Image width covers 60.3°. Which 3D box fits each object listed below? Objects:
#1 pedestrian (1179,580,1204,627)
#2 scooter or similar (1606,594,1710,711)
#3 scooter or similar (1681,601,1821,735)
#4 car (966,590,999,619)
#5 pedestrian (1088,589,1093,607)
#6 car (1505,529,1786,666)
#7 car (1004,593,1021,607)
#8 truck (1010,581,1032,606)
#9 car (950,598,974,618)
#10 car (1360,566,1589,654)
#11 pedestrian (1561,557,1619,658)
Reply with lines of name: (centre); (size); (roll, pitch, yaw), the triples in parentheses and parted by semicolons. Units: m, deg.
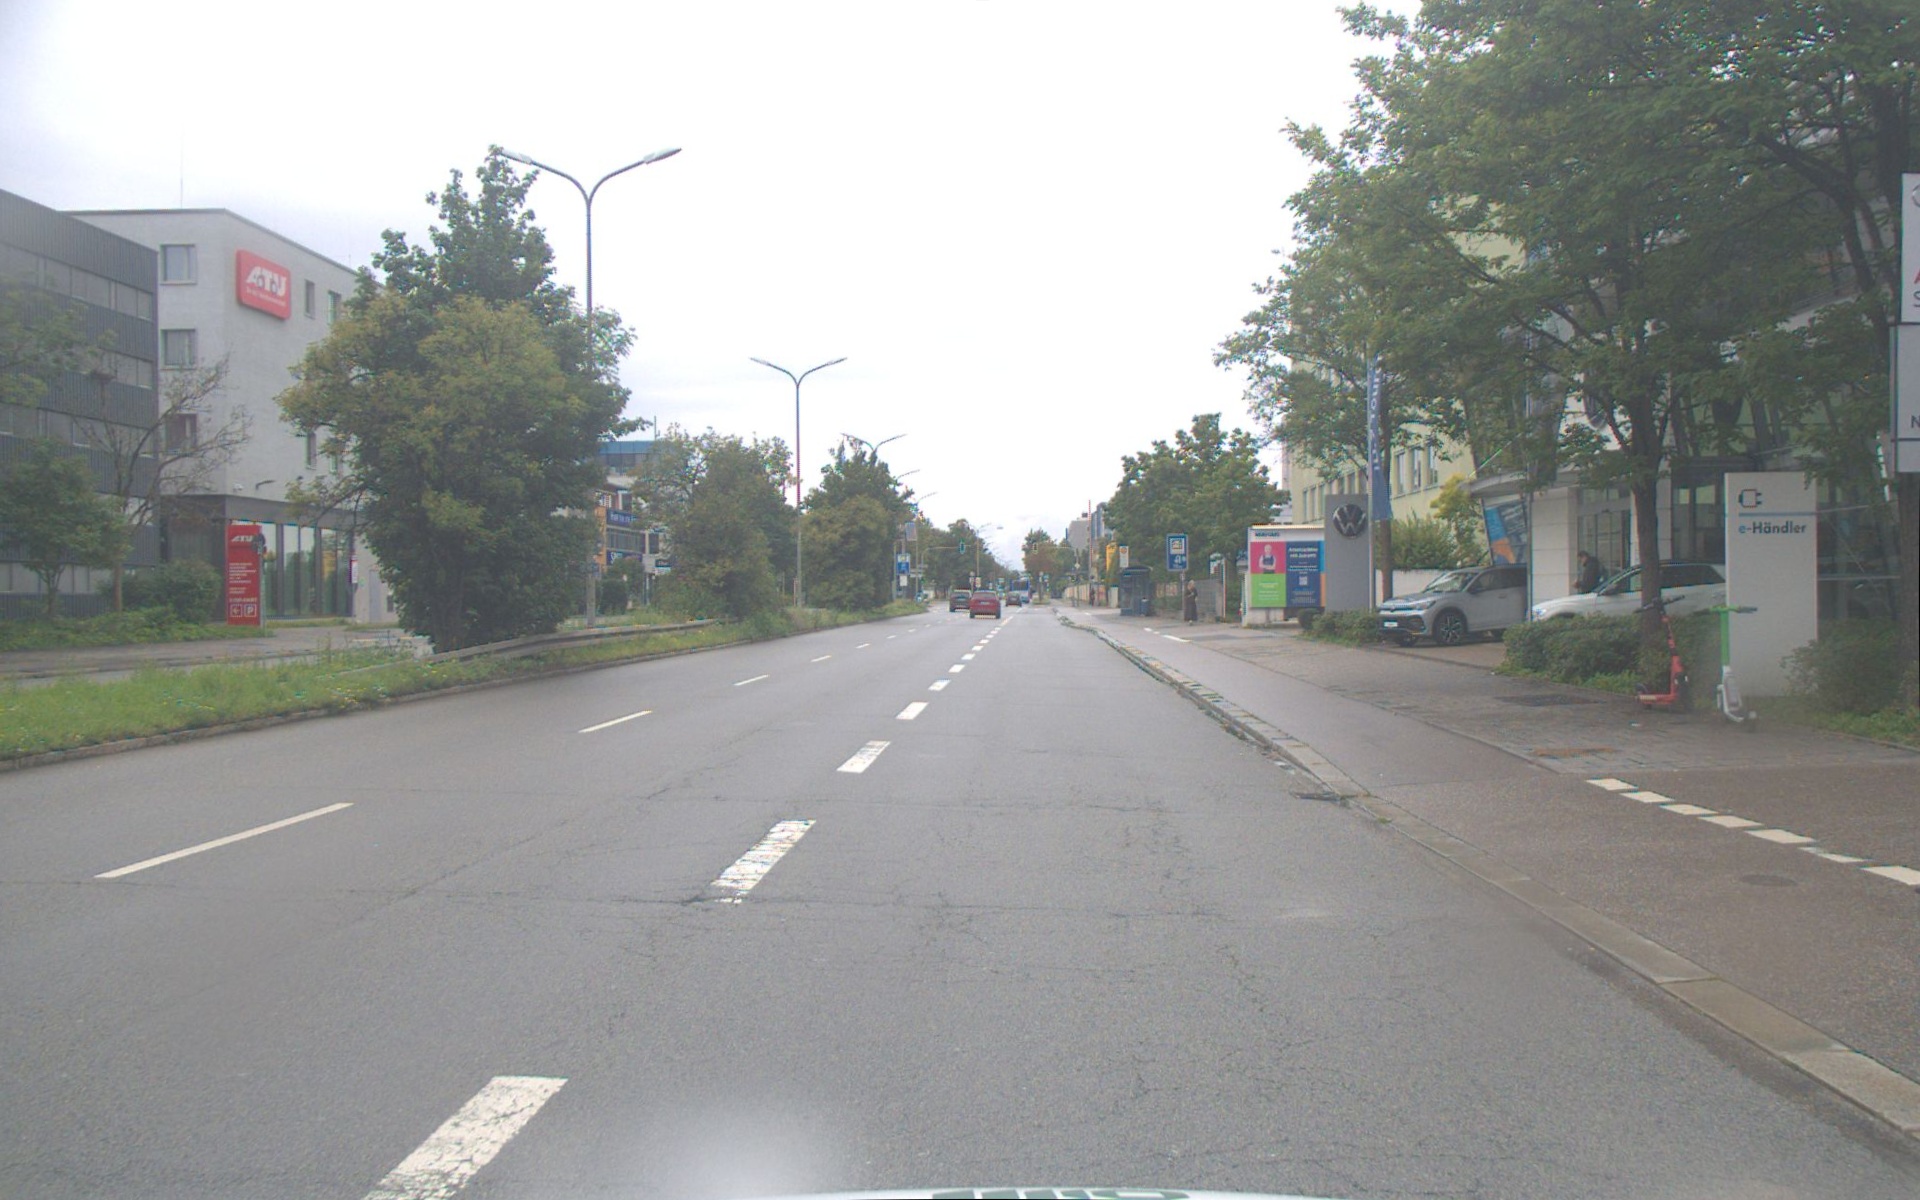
pedestrian: (9.025, 0.131, 64.541); (0.742, 1.758, 0.895); (-4, 0, 1)
scooter or similar: (7.768, 0.560, 18.458); (0.486, 1.225, 1.430); (-3, 0, 0)
scooter or similar: (7.714, 0.649, 16.195); (0.486, 1.226, 1.427); (-3, -1, -7)
car: (1.360, 0.278, 97.964); (1.823, 1.646, 4.001); (0, -1, 2)
pedestrian: (11.747, -0.195, 148.893); (0.473, 1.664, 0.591); (0, 0, 2)
car: (11.537, 0.002, 27.866); (4.164, 2.049, 1.961); (-3, -1, 27)
car: (5.628, 0.043, 177.475); (1.766, 1.458, 4.000); (0, 0, 1)
truck: (8.411, -0.878, 227.775); (2.908, 3.343, 7.916); (0, 0, 1)
car: (0.138, 0.615, 127.574); (1.766, 1.458, 4.000); (0, 0, 1)
car: (11.406, 0.224, 36.720); (4.519, 1.736, 1.997); (-2, -1, -19)
pedestrian: (11.380, 0.134, 29.884); (0.800, 1.807, 0.705); (0, -1, -42)
